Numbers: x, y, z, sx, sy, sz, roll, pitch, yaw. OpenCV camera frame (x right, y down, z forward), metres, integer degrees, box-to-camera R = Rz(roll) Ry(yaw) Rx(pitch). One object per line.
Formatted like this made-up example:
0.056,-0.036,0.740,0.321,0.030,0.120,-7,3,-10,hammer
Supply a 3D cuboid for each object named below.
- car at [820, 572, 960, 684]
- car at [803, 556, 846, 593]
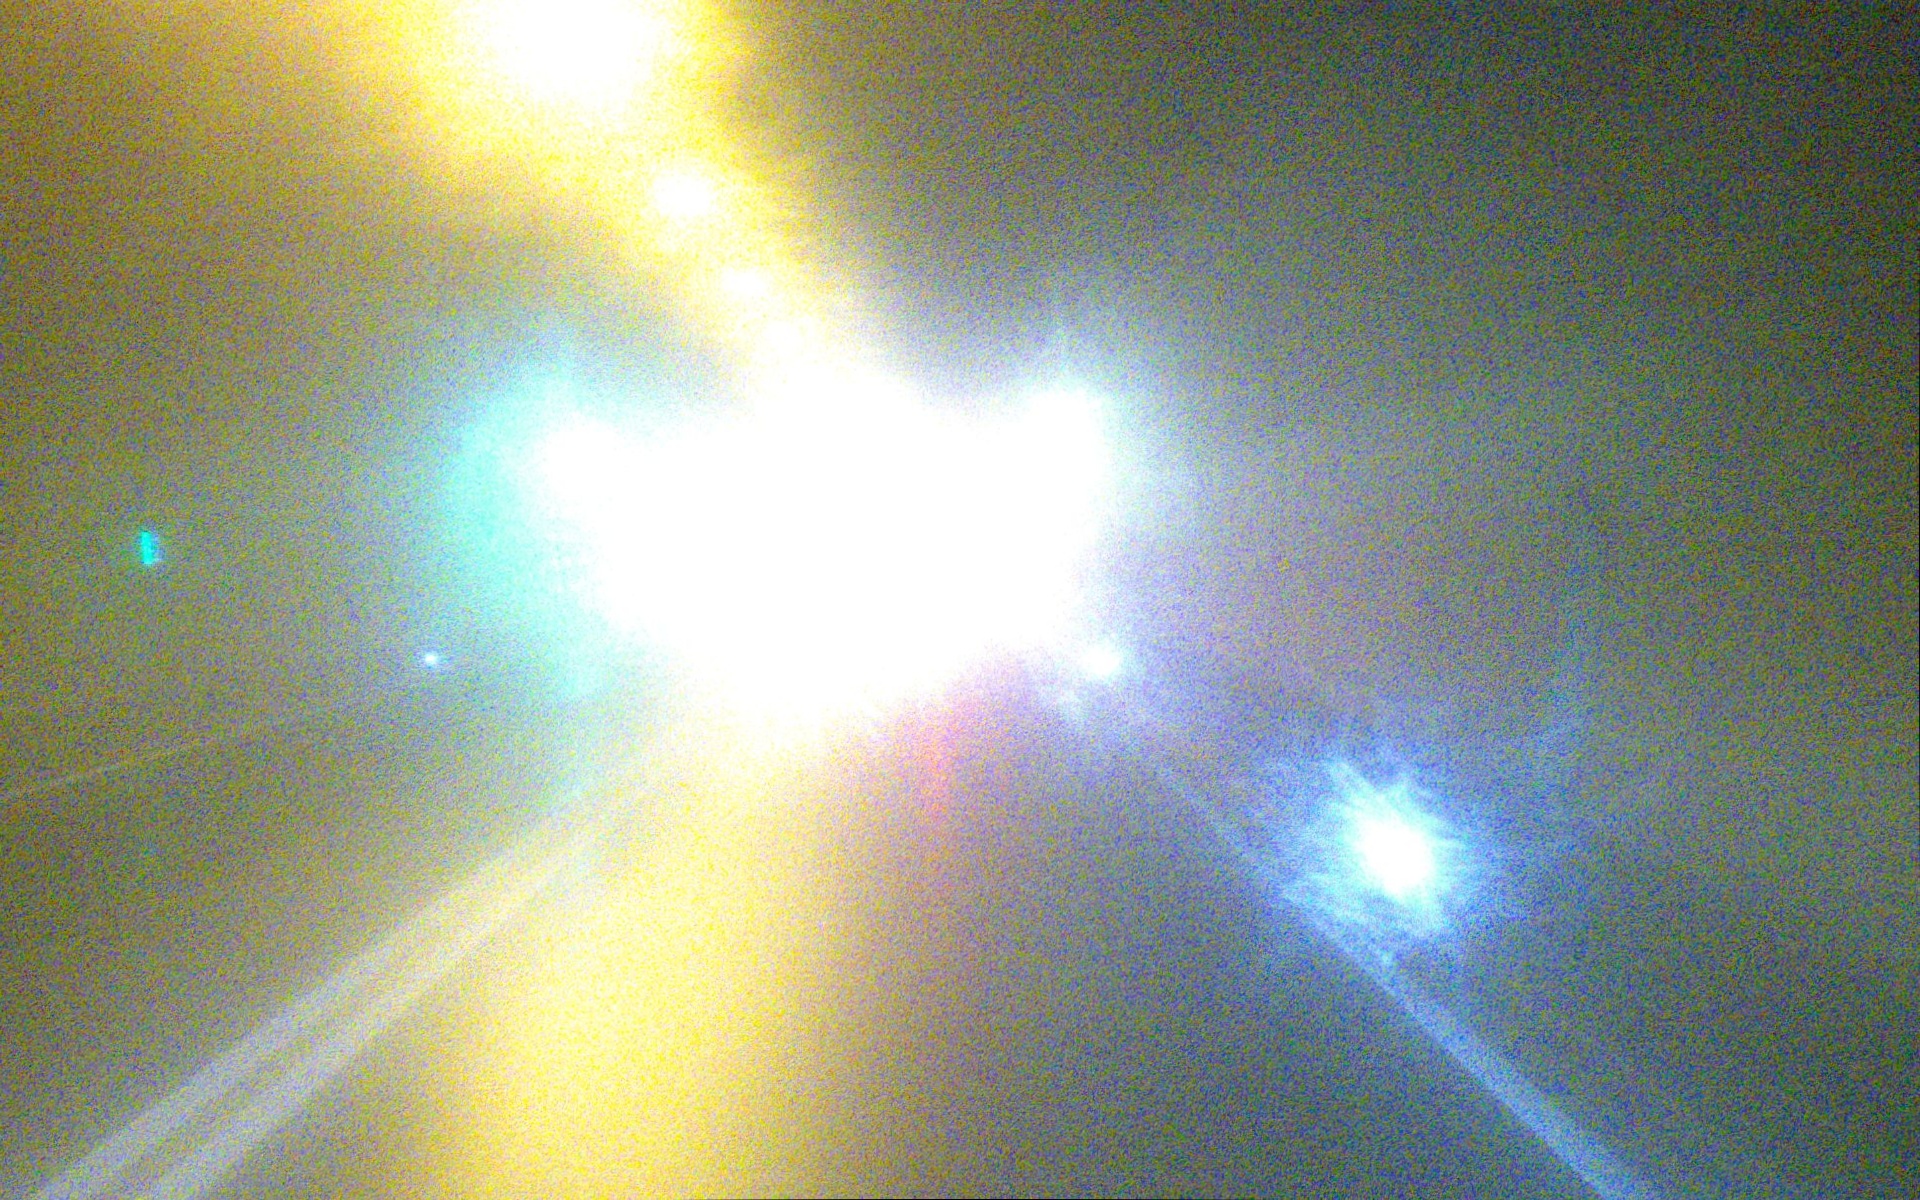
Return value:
-1.088,0.408,53.390,2.089,1.656,4.000,0,0,-1,car
-5.520,-1.040,140.075,1.690,1.500,3.745,0,0,-2,car
